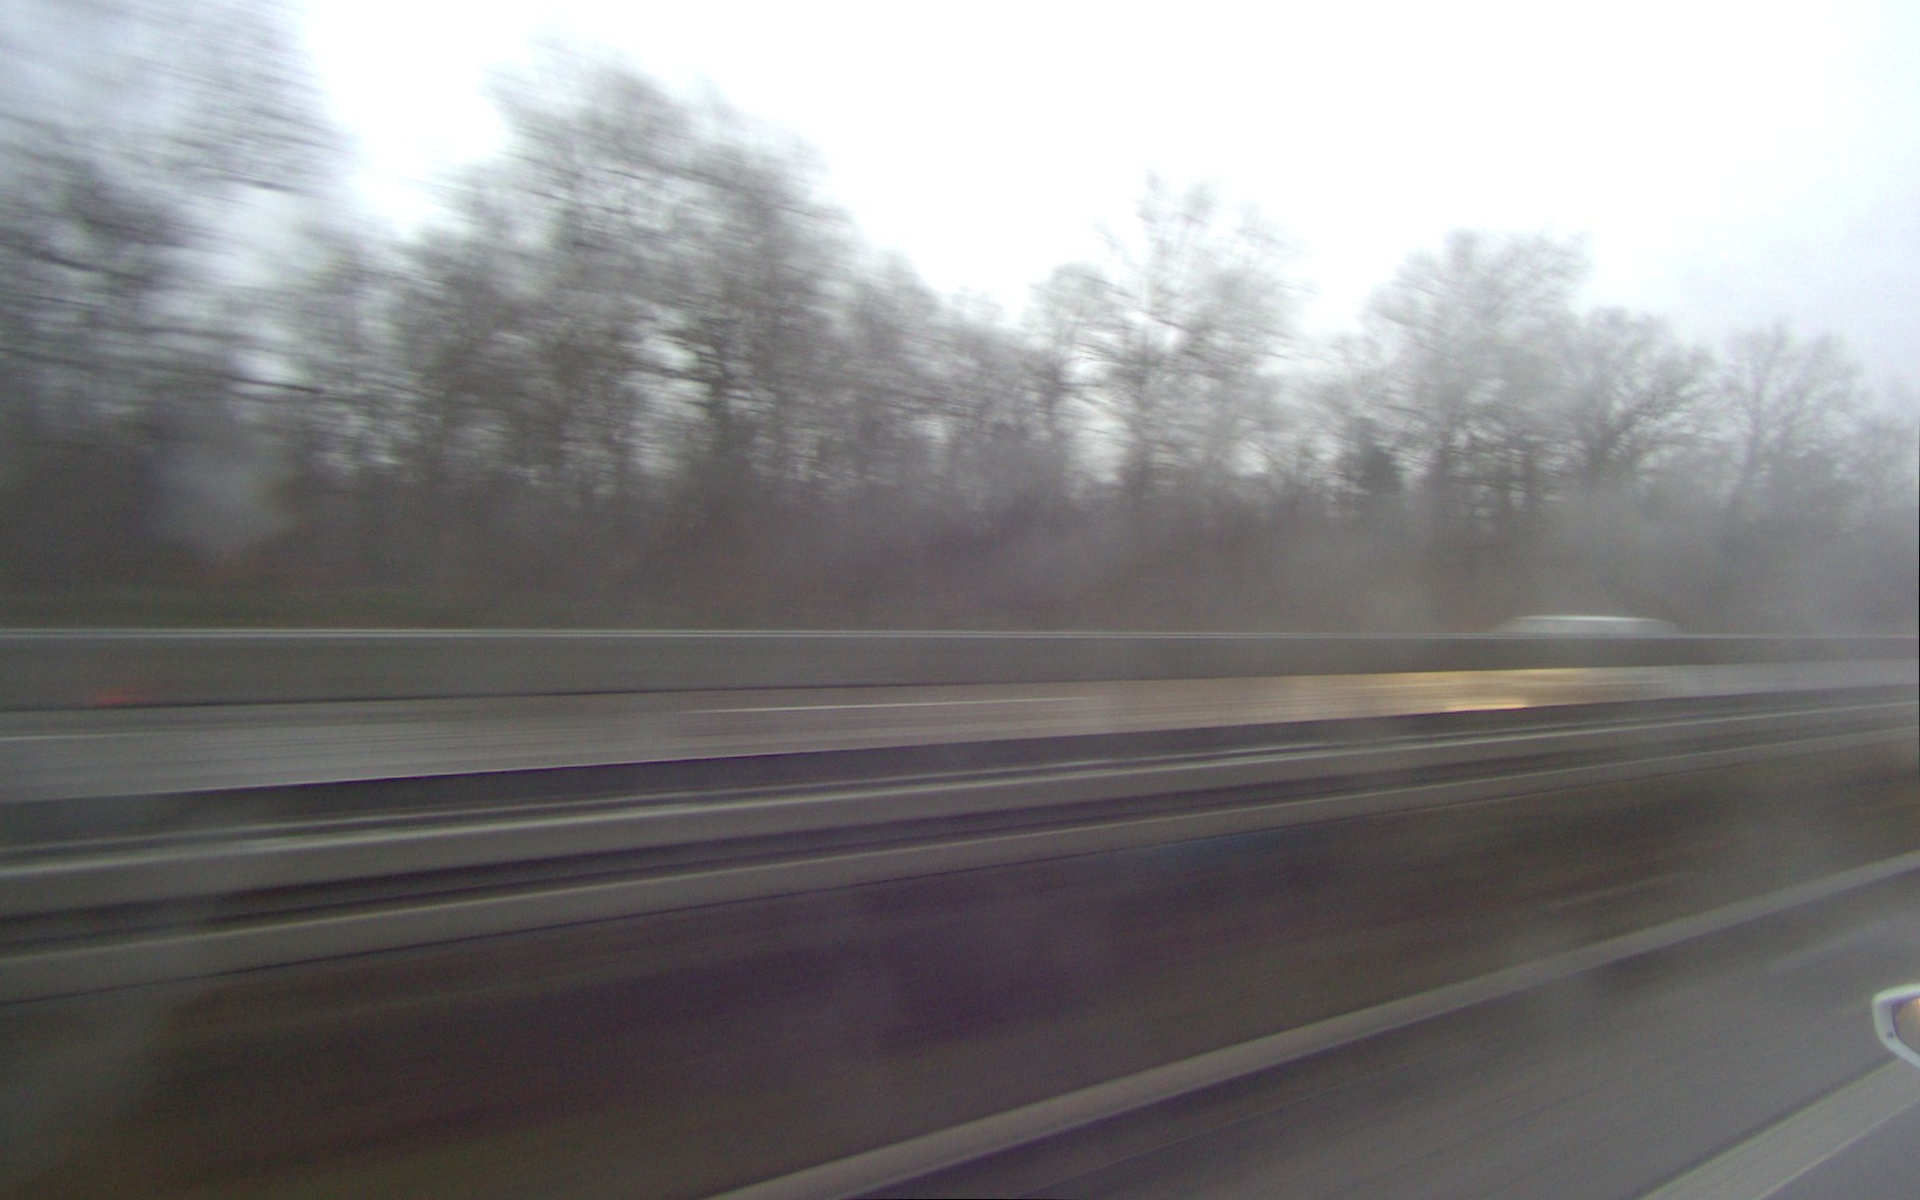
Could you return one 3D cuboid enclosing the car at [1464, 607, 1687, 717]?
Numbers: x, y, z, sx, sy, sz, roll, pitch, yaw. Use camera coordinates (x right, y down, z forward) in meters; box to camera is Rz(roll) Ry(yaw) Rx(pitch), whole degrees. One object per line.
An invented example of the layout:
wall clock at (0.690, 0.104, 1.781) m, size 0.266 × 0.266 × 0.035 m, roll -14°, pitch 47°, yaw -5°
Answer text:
car at (11.577, 1.125, 18.873) m, size 3.860 × 1.859 × 1.751 m, roll 2°, pitch 0°, yaw -26°
